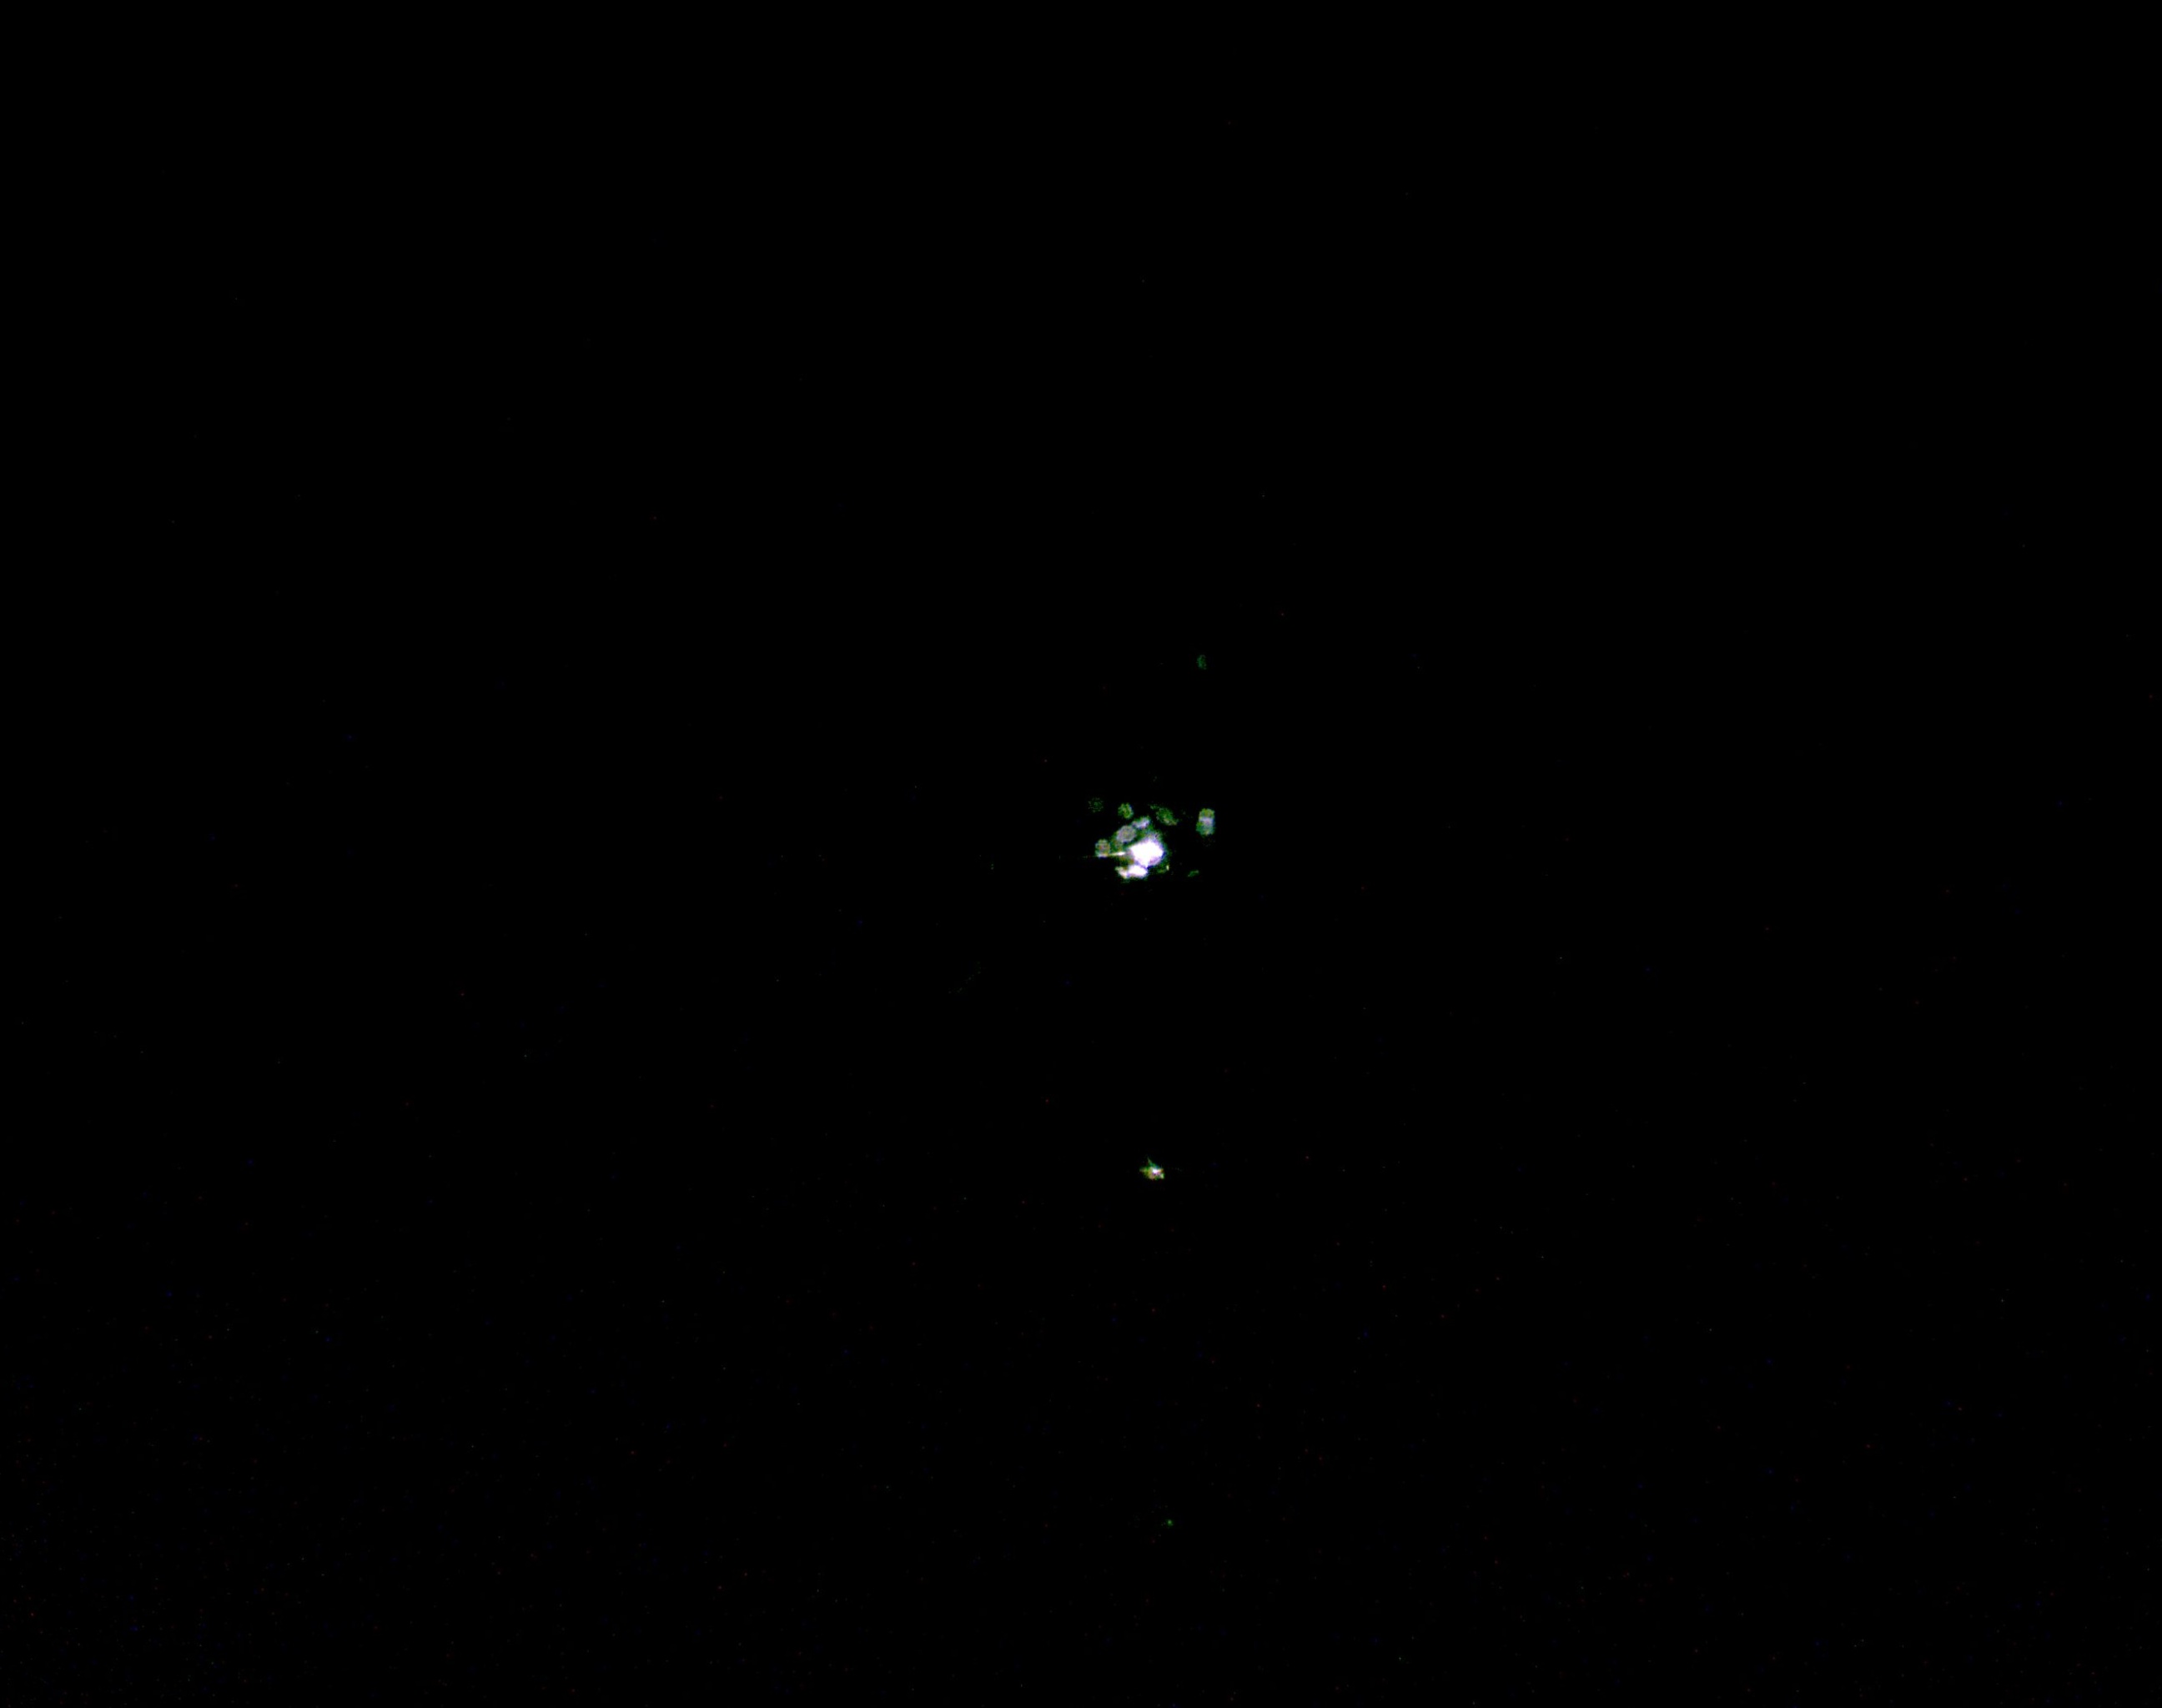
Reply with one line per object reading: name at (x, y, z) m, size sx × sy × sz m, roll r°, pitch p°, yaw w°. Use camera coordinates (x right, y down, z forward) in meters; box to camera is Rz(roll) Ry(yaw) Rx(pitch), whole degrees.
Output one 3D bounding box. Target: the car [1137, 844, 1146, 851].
car at (13.632, -1.475, 183.897) m, size 1.984 × 1.390 × 3.852 m, roll -1°, pitch 1°, yaw 5°
